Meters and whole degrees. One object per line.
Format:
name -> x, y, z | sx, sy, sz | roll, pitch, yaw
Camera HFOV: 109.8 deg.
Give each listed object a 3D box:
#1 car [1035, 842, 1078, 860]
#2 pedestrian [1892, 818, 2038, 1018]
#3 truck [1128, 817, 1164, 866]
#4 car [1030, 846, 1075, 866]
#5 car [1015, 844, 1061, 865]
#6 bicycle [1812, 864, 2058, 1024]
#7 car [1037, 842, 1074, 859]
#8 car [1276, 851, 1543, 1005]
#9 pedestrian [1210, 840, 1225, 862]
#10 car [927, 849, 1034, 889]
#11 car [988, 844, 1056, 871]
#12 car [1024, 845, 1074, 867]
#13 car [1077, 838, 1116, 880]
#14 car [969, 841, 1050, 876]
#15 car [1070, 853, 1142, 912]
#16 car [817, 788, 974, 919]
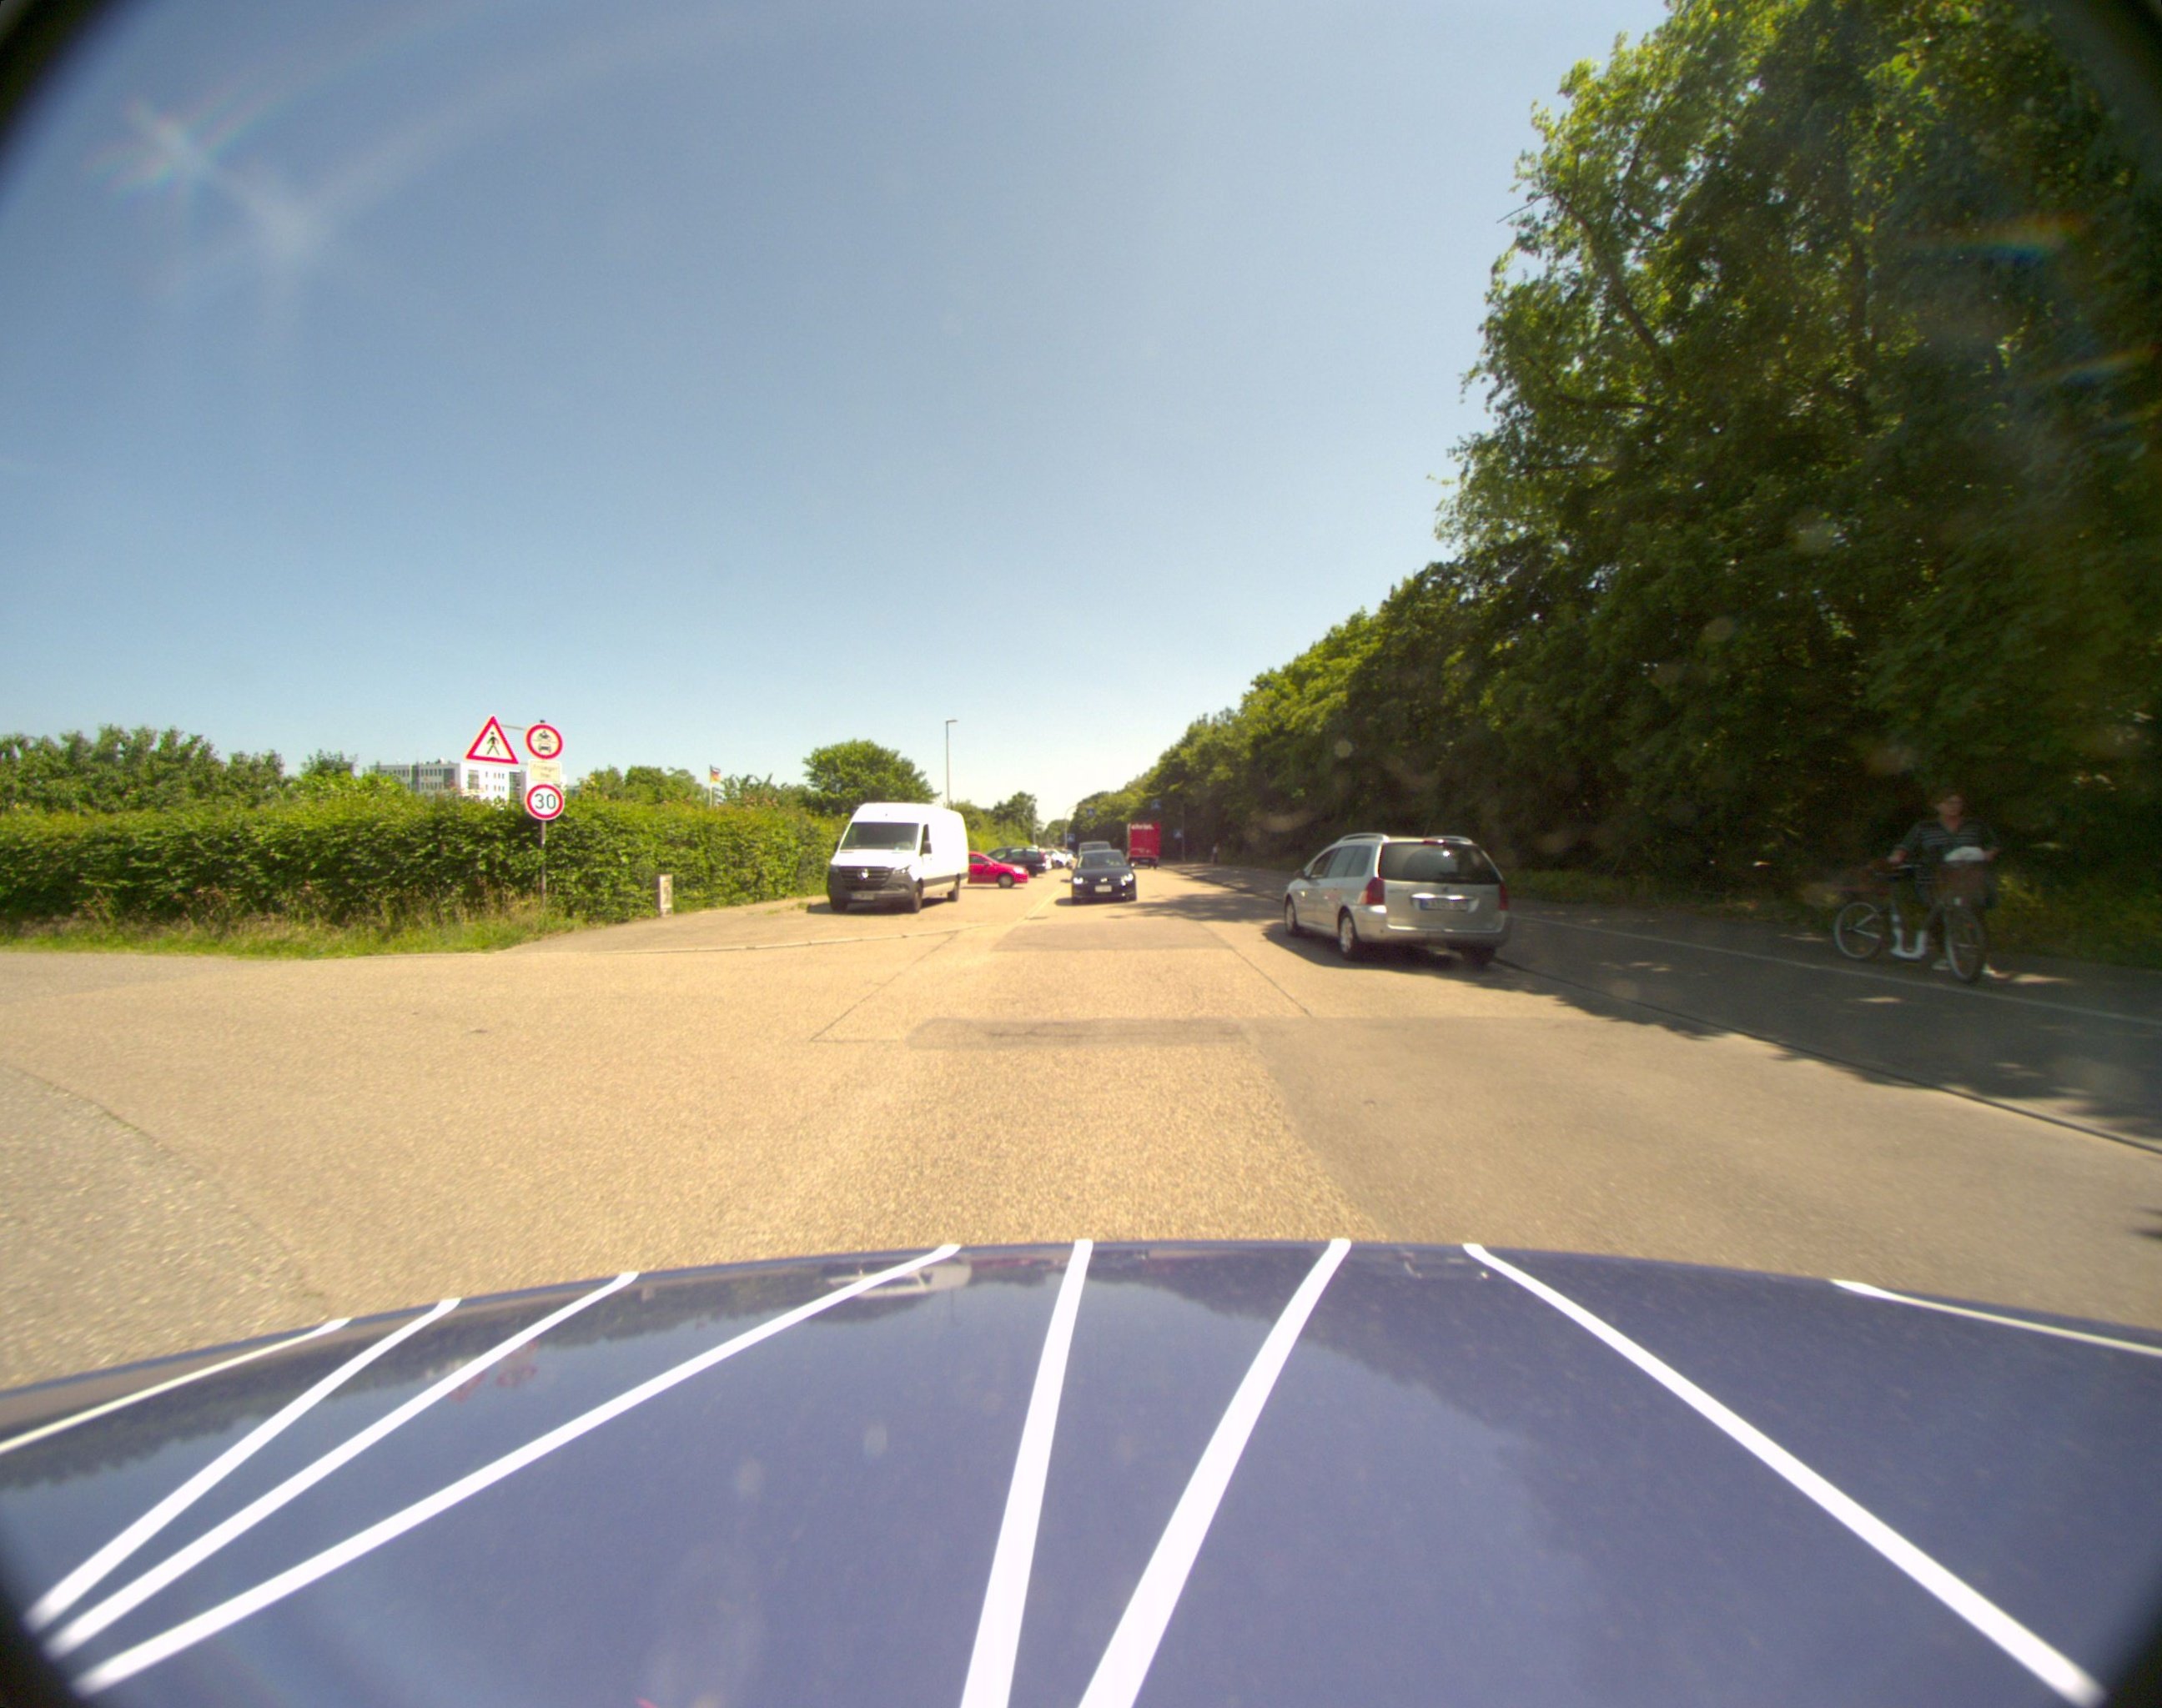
car -> -2.591, -0.351, 80.755 | 4.464, 1.720, 1.851 | 1, 1, 1
pedestrian -> 8.174, 0.543, 7.034 | 0.812, 1.708, 0.775 | -1, 1, -33
truck -> 4.915, -0.884, 58.387 | 2.328, 3.420, 7.161 | 3, 0, 2
car -> -2.551, 0.182, 67.910 | 3.971, 1.631, 1.663 | 3, 0, -3
car -> -3.333, 0.024, 59.083 | 3.395, 1.495, 1.588 | 2, 0, 4
bicycle -> 7.945, 0.759, 7.210 | 0.522, 1.229, 1.962 | -2, 1, 14
car -> -2.784, -0.373, 83.746 | 3.982, 1.676, 1.766 | 1, 0, 0
car -> 4.070, 0.783, 10.307 | 1.796, 1.564, 4.271 | 2, 1, 1
pedestrian -> 10.077, -0.195, 56.173 | 0.934, 1.603, 0.885 | -1, 1, 0
car -> -3.969, 0.601, 30.610 | 4.064, 1.426, 1.835 | 2, 0, -2
car -> -3.817, 0.215, 49.621 | 4.287, 1.569, 1.765 | 2, 0, -1
car -> -2.619, 0.161, 62.116 | 3.974, 1.514, 1.863 | 3, 0, -4
car -> 0.716, 0.242, 37.464 | 1.743, 1.905, 4.387 | -2, 0, -1
car -> -4.032, 0.234, 43.416 | 4.465, 1.794, 1.952 | 2, 1, -3
car -> 0.591, 0.704, 21.067 | 1.743, 1.396, 4.387 | -2, 0, -1
car -> -4.466, 0.001, 19.794 | 1.959, 2.717, 7.168 | 2, 0, 2
